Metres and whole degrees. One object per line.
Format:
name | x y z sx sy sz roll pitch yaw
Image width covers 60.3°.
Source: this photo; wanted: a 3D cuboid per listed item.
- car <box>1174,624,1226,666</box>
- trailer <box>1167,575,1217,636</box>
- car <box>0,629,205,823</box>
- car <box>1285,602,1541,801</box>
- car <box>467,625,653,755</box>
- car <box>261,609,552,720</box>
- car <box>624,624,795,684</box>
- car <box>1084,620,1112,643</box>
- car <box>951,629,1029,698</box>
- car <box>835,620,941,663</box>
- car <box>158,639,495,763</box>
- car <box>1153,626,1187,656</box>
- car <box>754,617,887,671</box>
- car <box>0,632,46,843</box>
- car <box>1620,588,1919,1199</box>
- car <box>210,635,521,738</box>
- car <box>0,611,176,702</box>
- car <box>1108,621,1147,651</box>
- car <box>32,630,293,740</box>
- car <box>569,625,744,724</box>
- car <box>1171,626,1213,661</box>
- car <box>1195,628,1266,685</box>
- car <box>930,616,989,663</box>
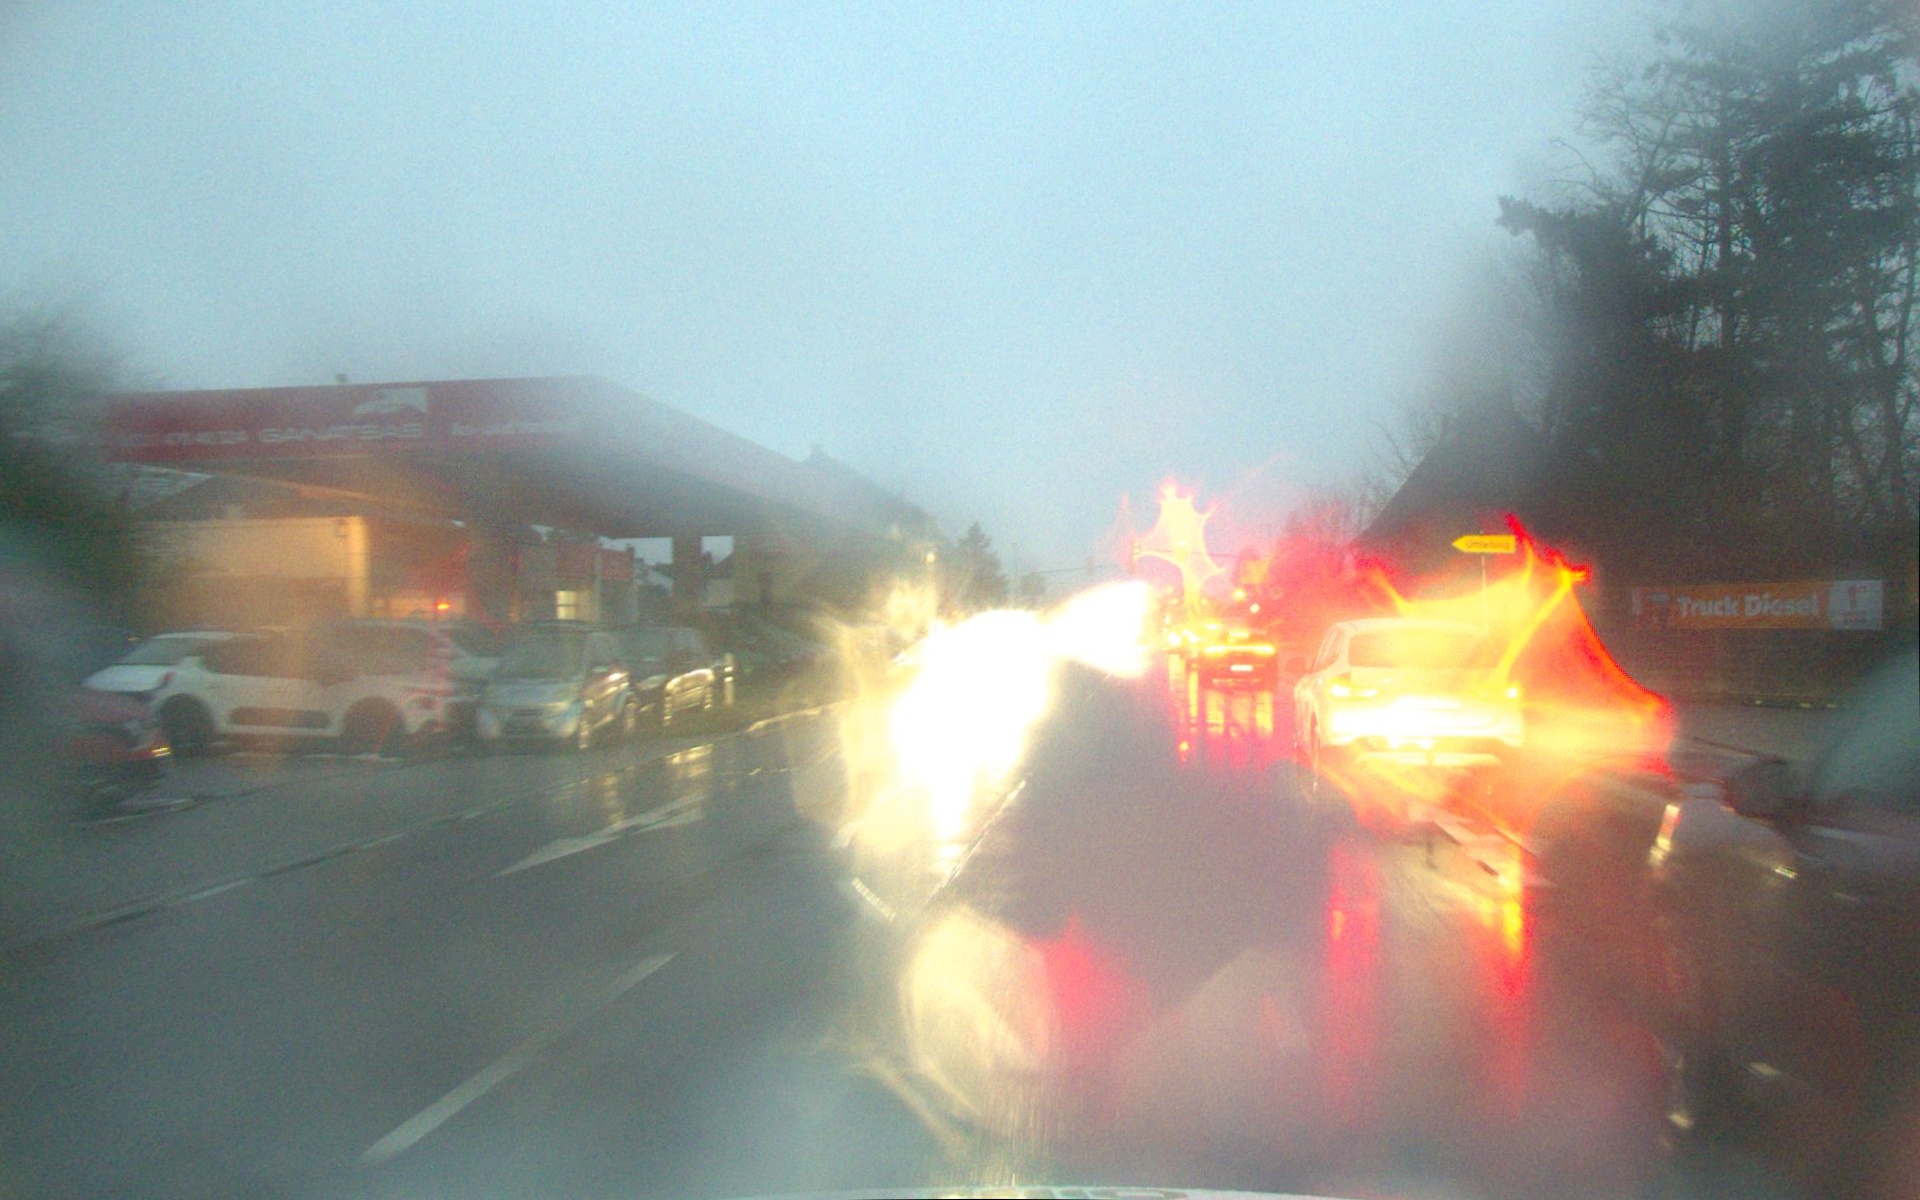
car | 8.194 1.525 56.785 1.618 1.359 4.275 -1 -1 7
trailer | 13.357 0.398 96.004 2.435 3.298 10.875 0 -1 6
car | -9.046 1.040 14.299 4.243 1.524 1.827 -1 -1 7
car | 4.120 0.852 15.694 1.672 1.603 4.467 -1 -1 7
car | -5.367 1.170 22.517 1.486 1.570 3.017 -2 -1 6
car | -8.834 1.020 26.573 3.961 1.679 1.943 -1 -1 8
car | -6.060 1.301 40.248 3.776 1.369 1.841 -1 -1 6
car | 11.533 2.601 138.129 1.951 1.777 4.003 -2 -1 9
car | 0.793 1.548 41.408 1.569 1.561 4.002 -3 -1 6
car | -3.032 1.757 70.354 4.186 1.656 2.001 2 -1 7
car | -8.216 1.283 21.656 3.692 1.485 1.777 0 -1 4
car | 10.781 2.099 85.013 1.627 1.464 4.384 0 -1 6
car | -4.784 1.498 57.045 4.186 1.691 2.001 2 -1 7
car | -9.158 1.019 11.835 4.243 1.524 1.996 -1 -1 9
car | 2.713 0.750 3.377 1.532 1.556 4.009 0 -1 7
car | -8.496 1.211 23.836 3.776 1.369 1.841 0 -1 6
car | -17.092 1.054 32.197 1.583 1.599 3.584 -1 1 8
car | 9.565 2.058 94.860 2.004 1.600 4.705 -2 -1 4
car | -12.263 1.256 25.729 1.795 1.516 3.874 0 0 7
car | -4.769 1.143 26.513 1.646 1.446 3.743 -1 -1 8
car | 10.819 1.998 77.240 1.797 1.596 4.506 0 -1 6
car | 6.967 1.418 42.891 1.606 1.390 4.772 0 -1 7
car | 0.012 1.634 70.335 1.929 1.862 4.515 -2 -1 6
